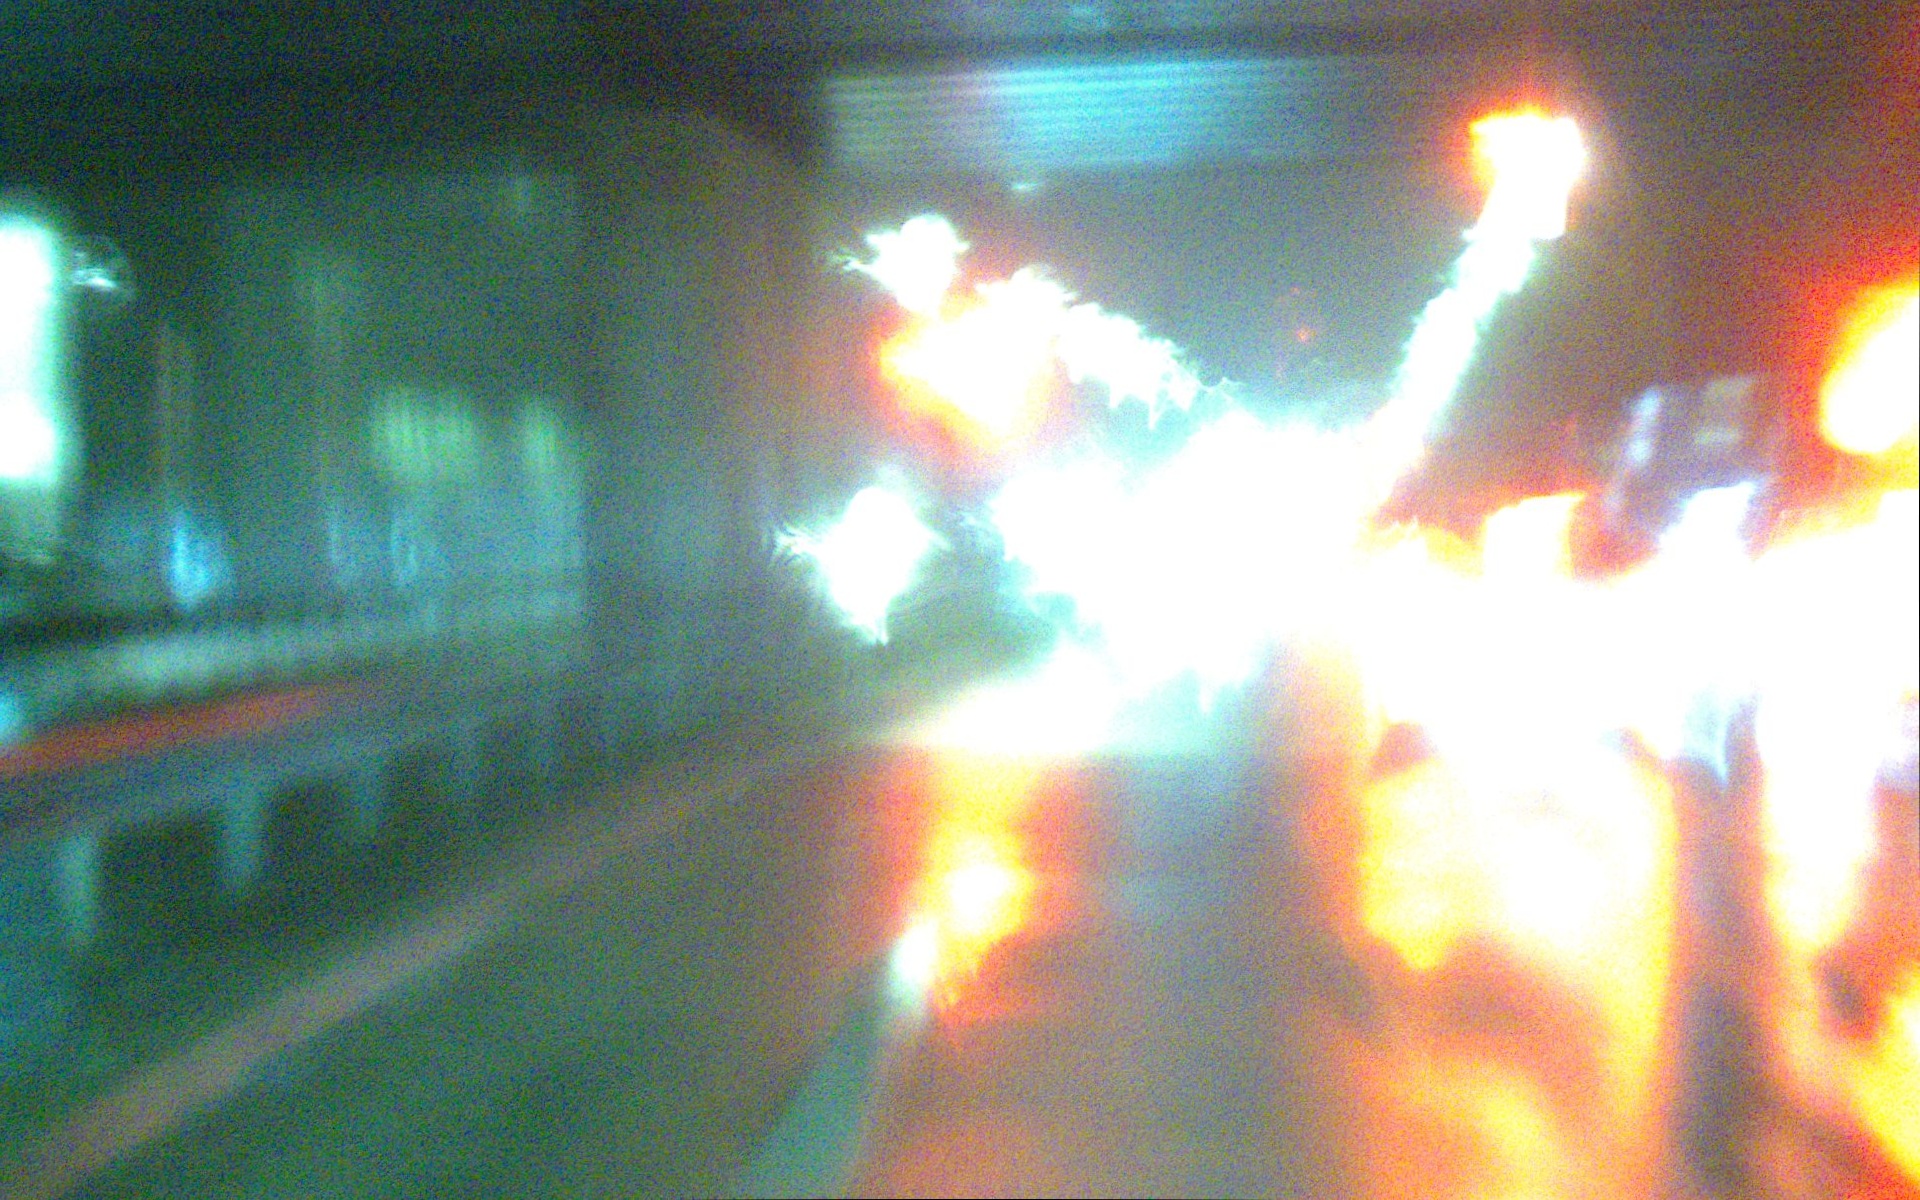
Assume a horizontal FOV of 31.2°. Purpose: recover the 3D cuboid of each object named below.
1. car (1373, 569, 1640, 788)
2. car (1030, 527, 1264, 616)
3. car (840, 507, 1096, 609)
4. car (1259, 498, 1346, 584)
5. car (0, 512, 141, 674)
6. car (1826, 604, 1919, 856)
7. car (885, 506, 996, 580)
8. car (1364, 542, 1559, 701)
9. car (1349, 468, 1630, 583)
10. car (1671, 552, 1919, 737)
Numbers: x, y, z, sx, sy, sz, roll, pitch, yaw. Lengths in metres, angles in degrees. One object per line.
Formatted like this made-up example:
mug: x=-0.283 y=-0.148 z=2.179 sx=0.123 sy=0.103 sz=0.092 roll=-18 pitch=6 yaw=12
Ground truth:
car: x=3.914 y=0.506 z=25.158 sx=1.720 sy=1.441 sz=4.161 roll=0 pitch=1 yaw=6
car: x=3.492 y=-0.547 z=64.811 sx=1.832 sy=1.617 sz=4.380 roll=0 pitch=1 yaw=-42
car: x=0.097 y=-0.759 z=61.689 sx=1.832 sy=1.763 sz=4.836 roll=0 pitch=1 yaw=-41
car: x=8.300 y=-1.405 z=83.032 sx=1.994 sy=2.007 sz=3.999 roll=1 pitch=1 yaw=7
car: x=-9.695 y=-0.100 z=34.779 sx=1.597 sy=1.531 sz=4.311 roll=1 pitch=1 yaw=3
car: x=6.879 y=0.797 z=22.473 sx=1.720 sy=1.482 sz=4.786 roll=0 pitch=1 yaw=6
car: x=-0.415 y=-1.275 z=77.652 sx=1.994 sy=1.612 sz=3.999 roll=1 pitch=1 yaw=7
car: x=4.887 y=0.174 z=33.925 sx=1.720 sy=1.441 sz=4.382 roll=-1 pitch=1 yaw=6
car: x=10.544 y=-1.473 z=68.733 sx=2.442 sy=2.186 sz=5.076 roll=0 pitch=1 yaw=-44
car: x=7.145 y=0.329 z=29.275 sx=1.720 sy=1.441 sz=4.161 roll=-1 pitch=1 yaw=6
